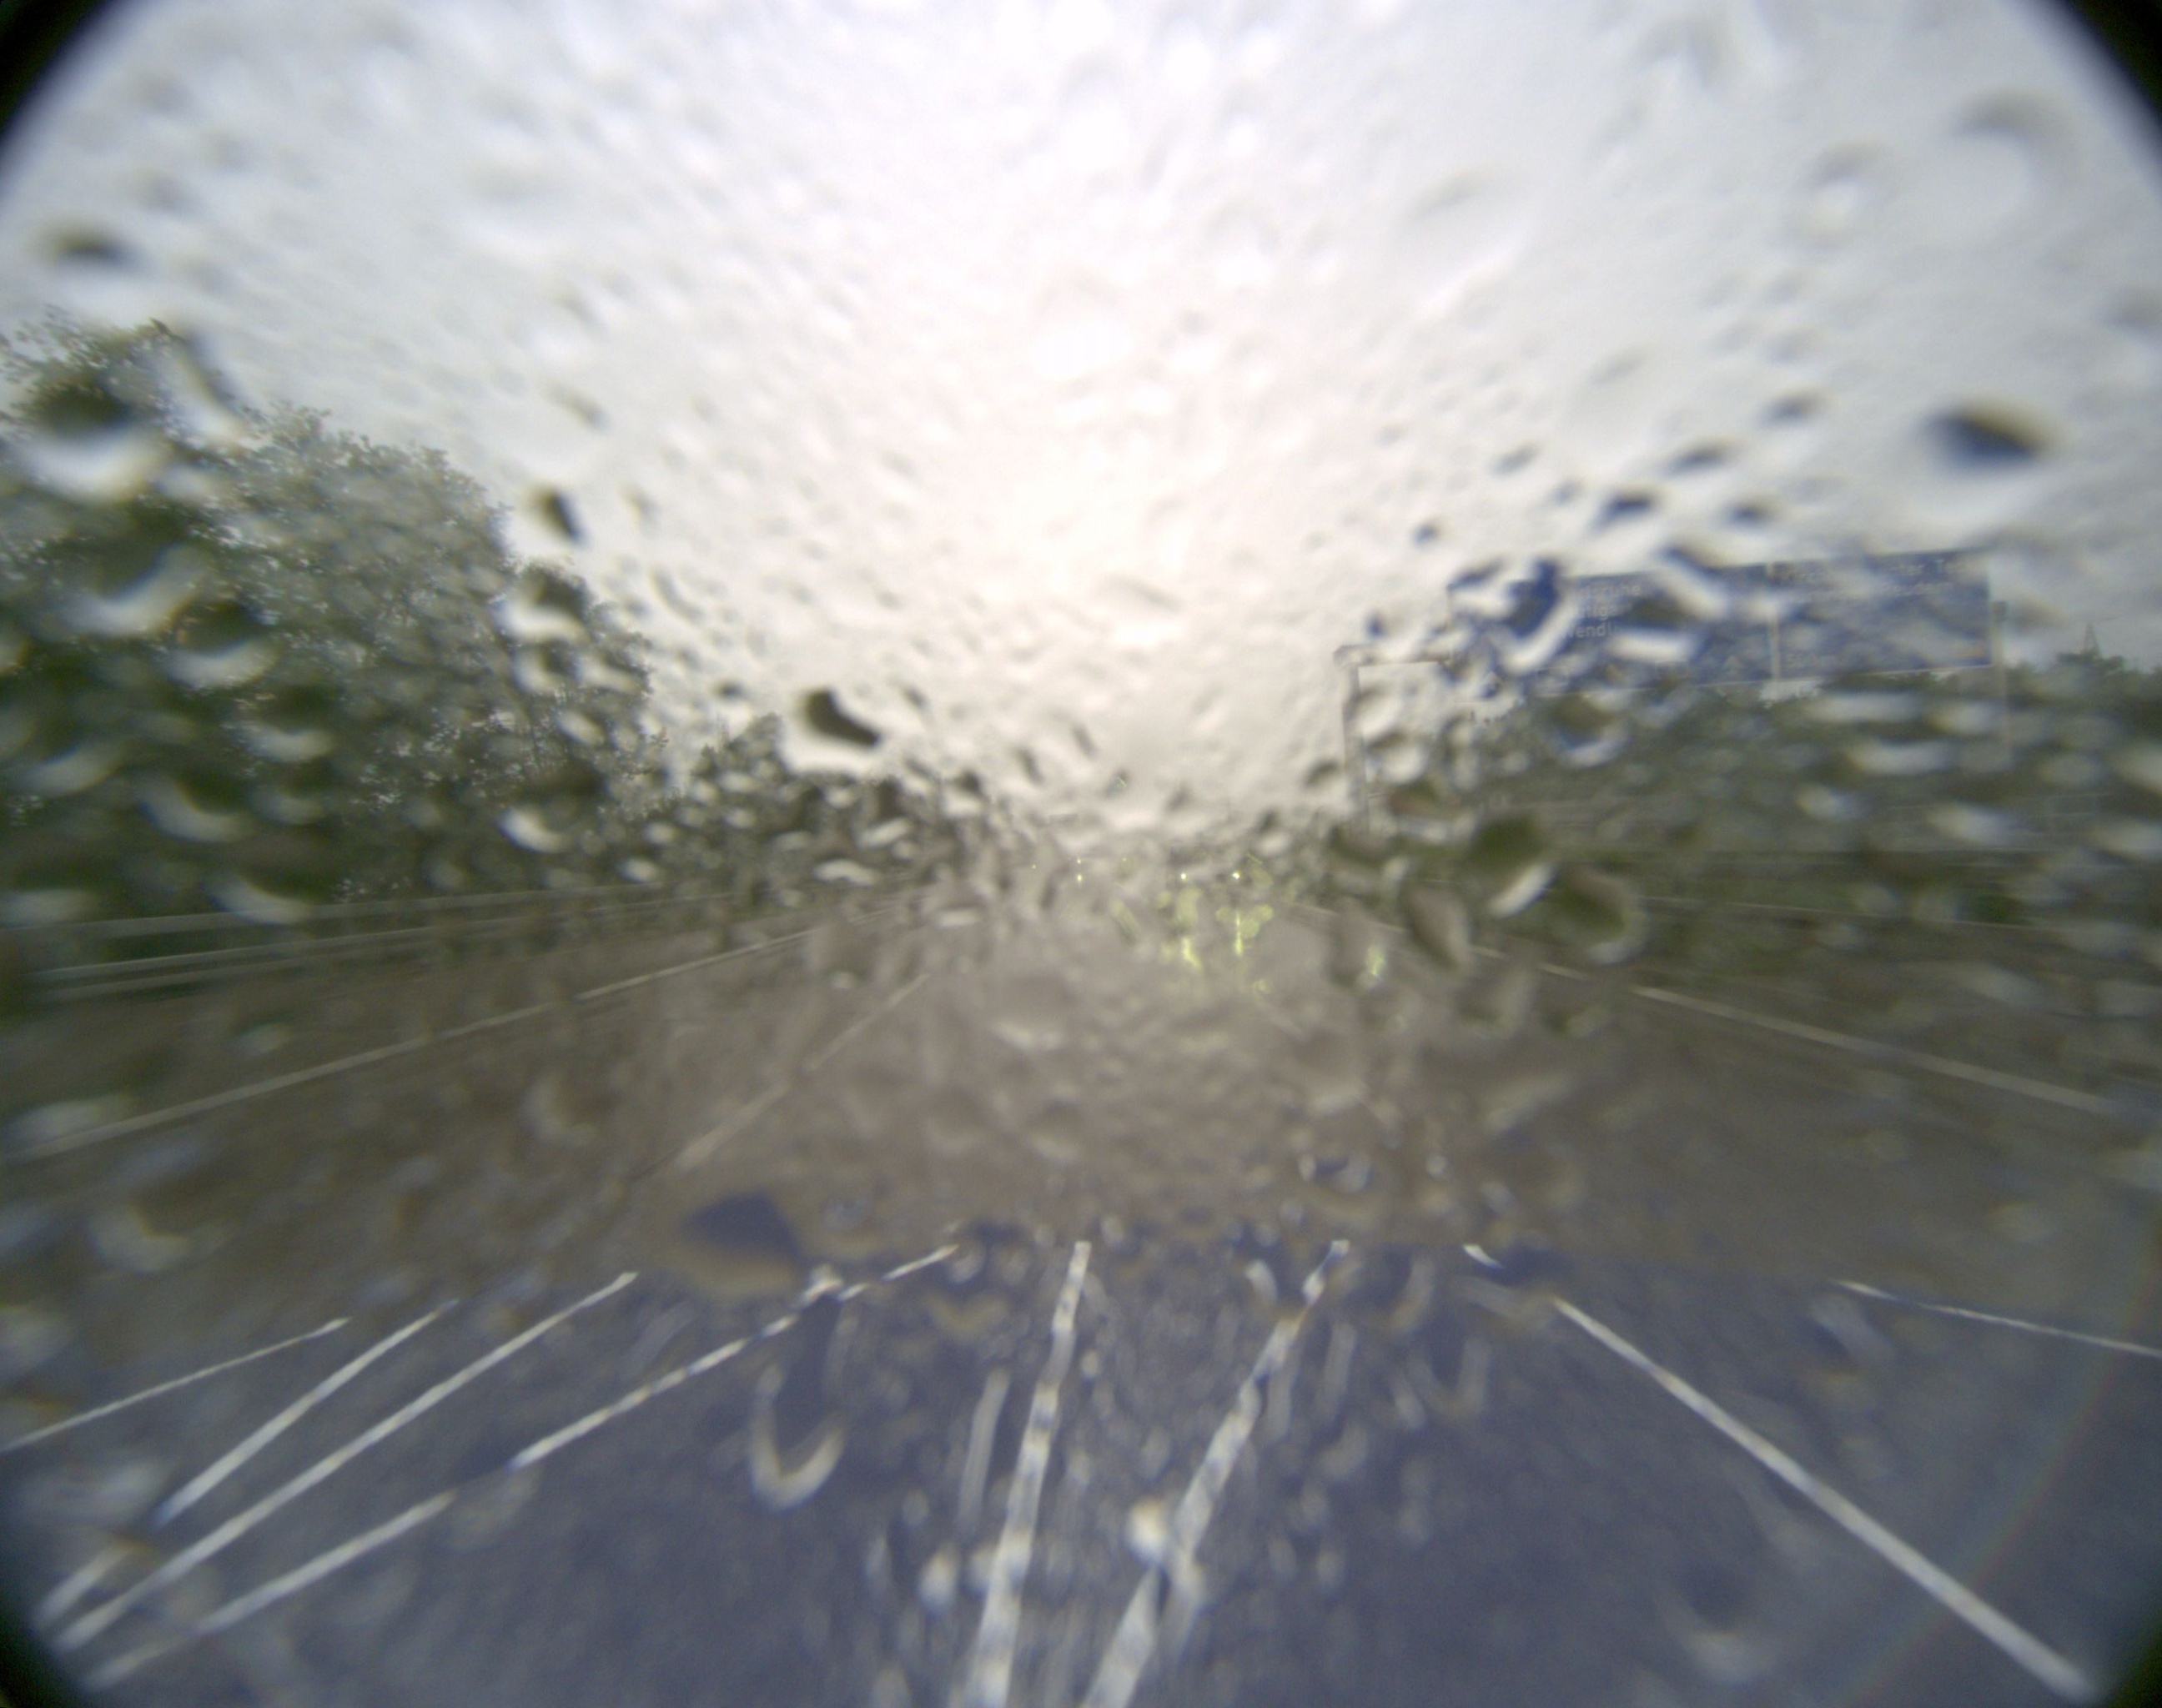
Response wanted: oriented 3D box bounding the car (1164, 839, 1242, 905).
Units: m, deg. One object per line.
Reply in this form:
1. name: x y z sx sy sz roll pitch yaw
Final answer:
1. car: 3.599 0.471 23.122 2.046 1.763 4.502 -2 0 6

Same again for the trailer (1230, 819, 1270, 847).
1. trailer: 23.381 -2.834 105.802 2.680 3.388 13.448 -4 0 1

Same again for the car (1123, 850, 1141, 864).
1. car: 5.241 0.338 77.911 1.752 1.369 4.001 -2 0 4

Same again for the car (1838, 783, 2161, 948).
1. car: 12.816 0.079 9.856 1.998 1.801 4.000 -2 1 1

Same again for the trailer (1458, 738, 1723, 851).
1. trailer: 21.526 -2.150 33.865 2.932 3.734 13.541 -6 0 3

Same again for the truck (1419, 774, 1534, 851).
1. truck: 21.870 -2.179 42.488 2.915 3.699 6.509 -6 0 2

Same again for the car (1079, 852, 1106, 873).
1. car: 0.913 0.620 57.346 1.752 1.406 4.001 -1 0 4

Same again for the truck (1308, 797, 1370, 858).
1. truck: 17.358 -1.715 51.437 2.362 3.687 4.738 -6 0 2

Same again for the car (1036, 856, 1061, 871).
1. car: -3.002 0.857 70.324 1.752 1.205 4.001 -6 0 4

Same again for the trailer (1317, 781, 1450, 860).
1. trailer: 17.141 -1.696 44.640 2.338 3.700 13.929 -6 0 2

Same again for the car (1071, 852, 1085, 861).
1. car: -0.467 0.387 124.521 1.752 1.205 4.001 -6 0 4
